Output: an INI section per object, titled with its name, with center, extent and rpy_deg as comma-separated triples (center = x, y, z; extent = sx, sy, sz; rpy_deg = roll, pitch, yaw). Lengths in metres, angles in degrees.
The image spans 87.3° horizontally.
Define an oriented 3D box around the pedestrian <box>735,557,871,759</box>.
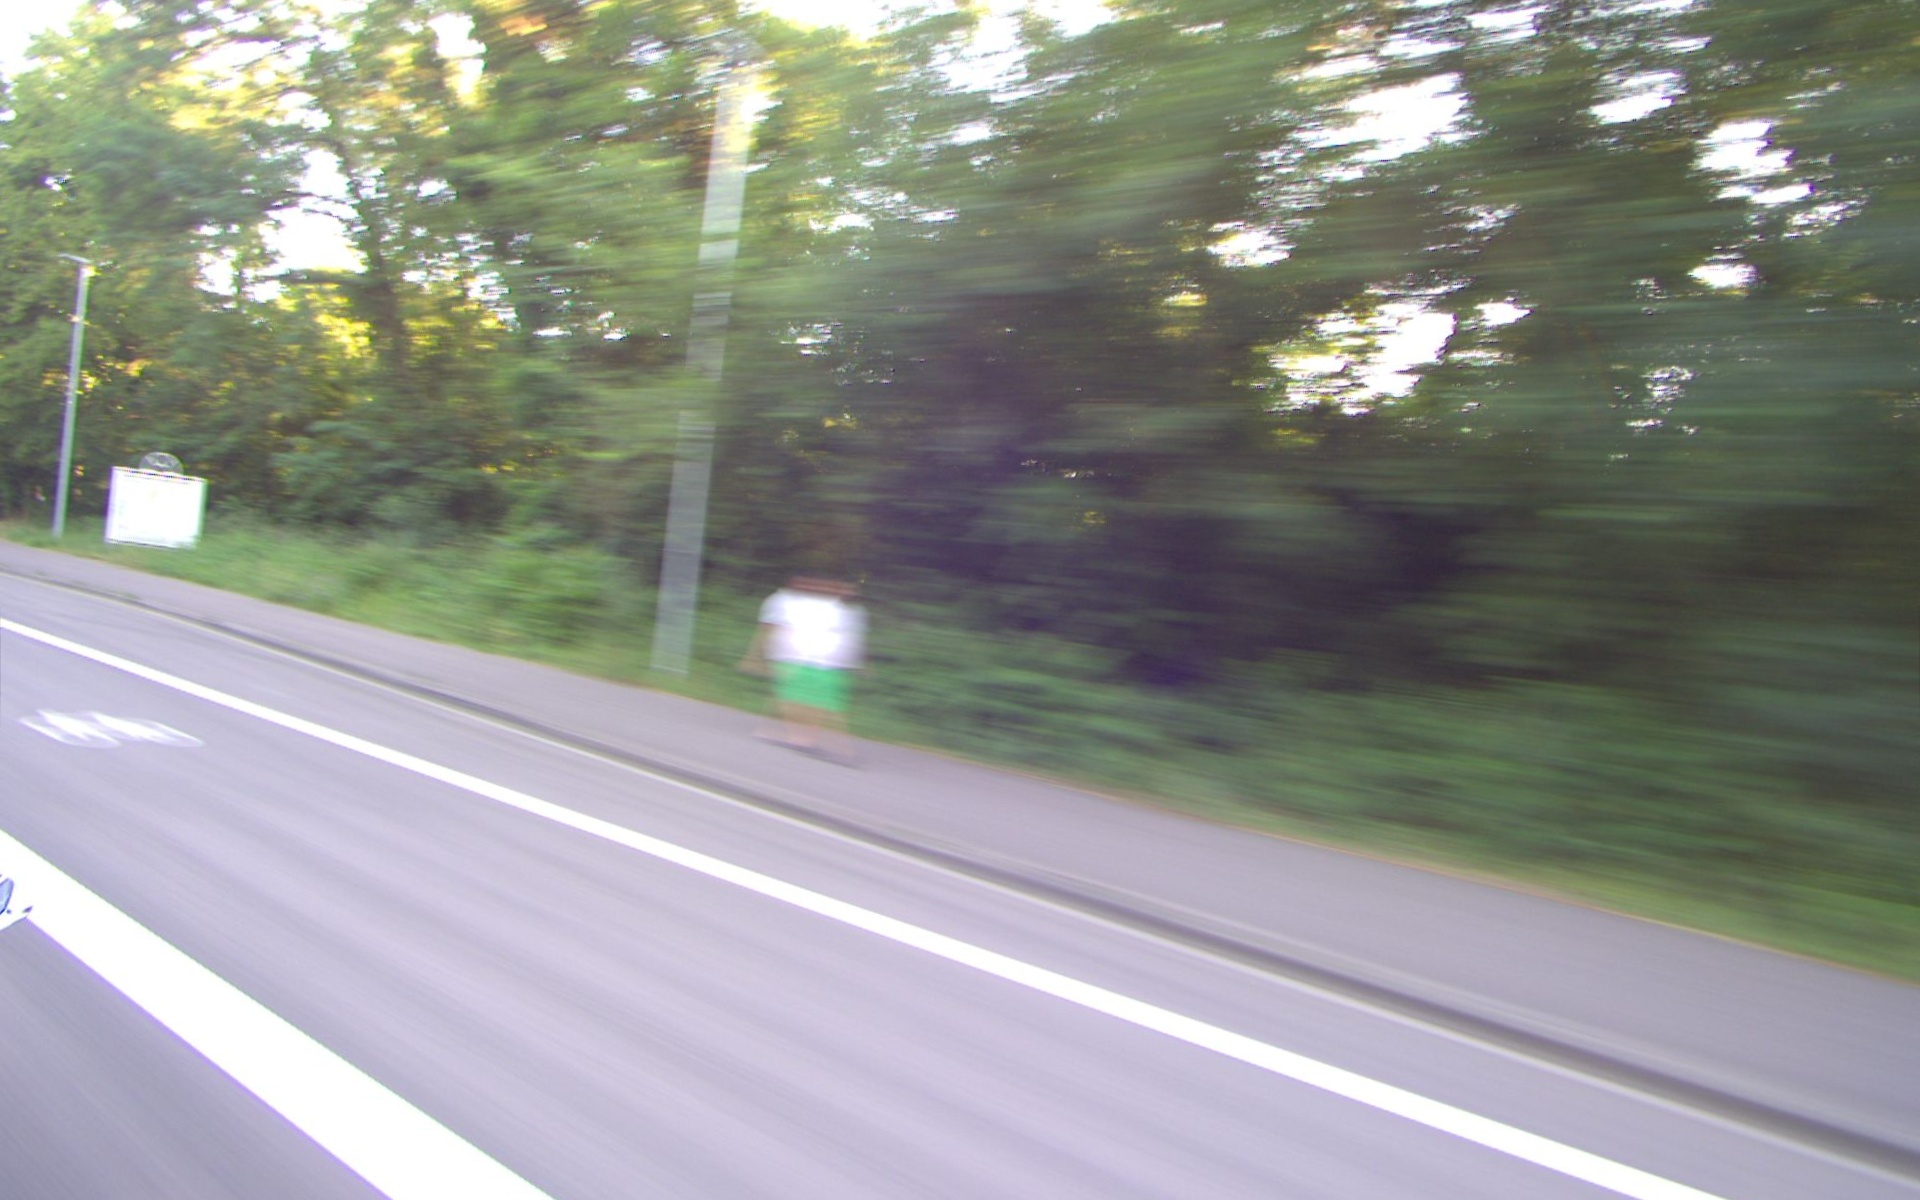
[pedestrian]
center = -1.483, 0.546, 9.560
extent = 0.714, 1.773, 0.839
rpy_deg = 7, 0, 33
